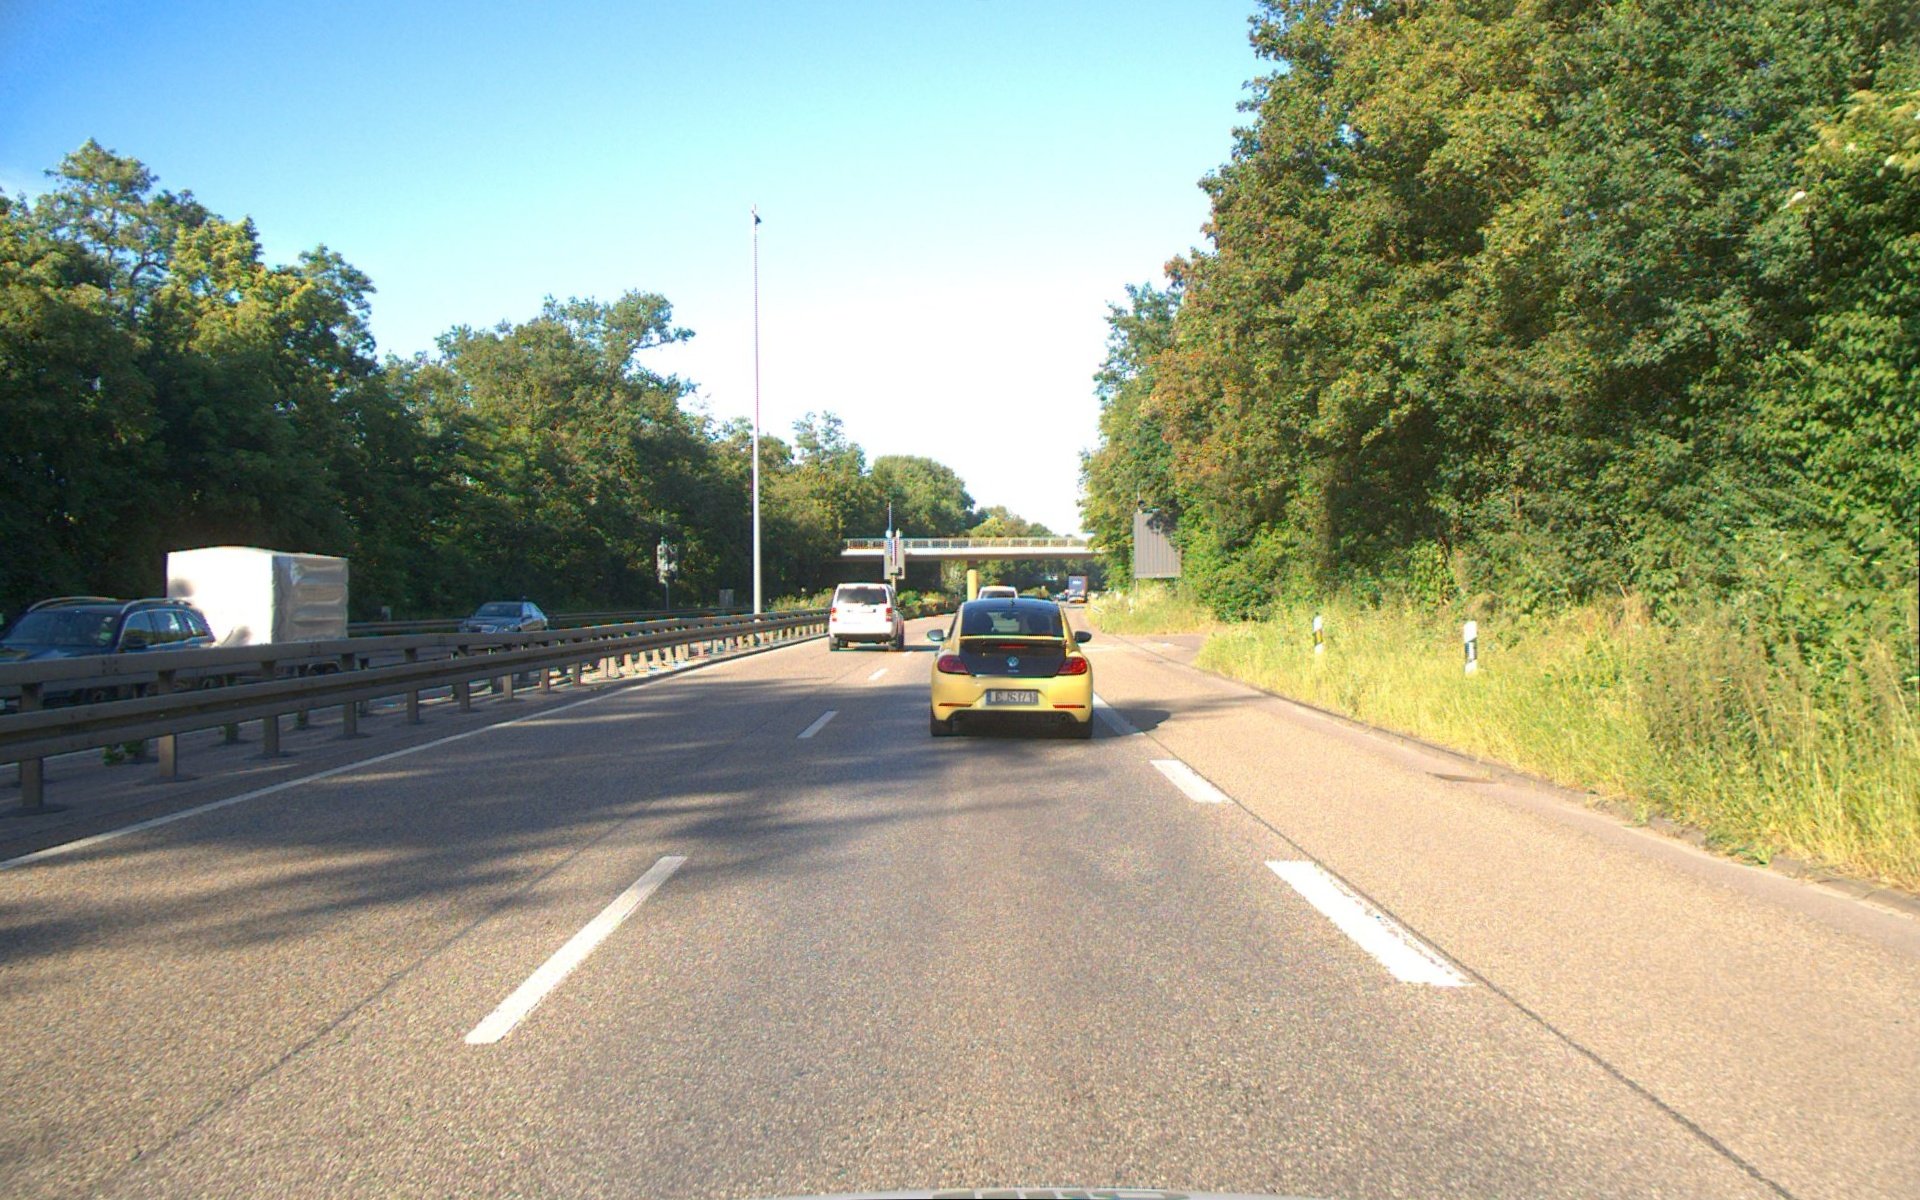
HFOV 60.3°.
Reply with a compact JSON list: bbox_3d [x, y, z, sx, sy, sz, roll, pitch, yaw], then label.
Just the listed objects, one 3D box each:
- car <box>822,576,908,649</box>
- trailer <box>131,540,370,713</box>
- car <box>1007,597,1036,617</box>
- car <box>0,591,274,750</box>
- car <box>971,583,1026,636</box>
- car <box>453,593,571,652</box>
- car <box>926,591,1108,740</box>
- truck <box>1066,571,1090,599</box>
[{"bbox_3d":[-2.517,0.326,44.668,2.042,1.860,4.000,-1,0,0],"label":"car"},{"bbox_3d":[-11.080,0.378,26.224,1.954,2.480,4.604,-1,0,-3],"label":"trailer"},{"bbox_3d":[4.721,0.526,126.804,1.951,1.422,4.003,0,0,6],"label":"car"},{"bbox_3d":[-10.840,0.795,21.279,2.030,1.779,5.222,-1,0,-3],"label":"car"},{"bbox_3d":[1.351,0.332,59.899,1.825,1.801,4.469,-1,0,0],"label":"car"},{"bbox_3d":[-14.185,0.679,52.750,2.076,1.755,5.876,1,0,1],"label":"car"},{"bbox_3d":[0.615,0.673,19.143,1.841,1.487,4.356,1,0,1],"label":"car"},{"bbox_3d":[18.231,-2.272,255.516,3.422,4.246,8.867,-1,0,6],"label":"truck"}]
